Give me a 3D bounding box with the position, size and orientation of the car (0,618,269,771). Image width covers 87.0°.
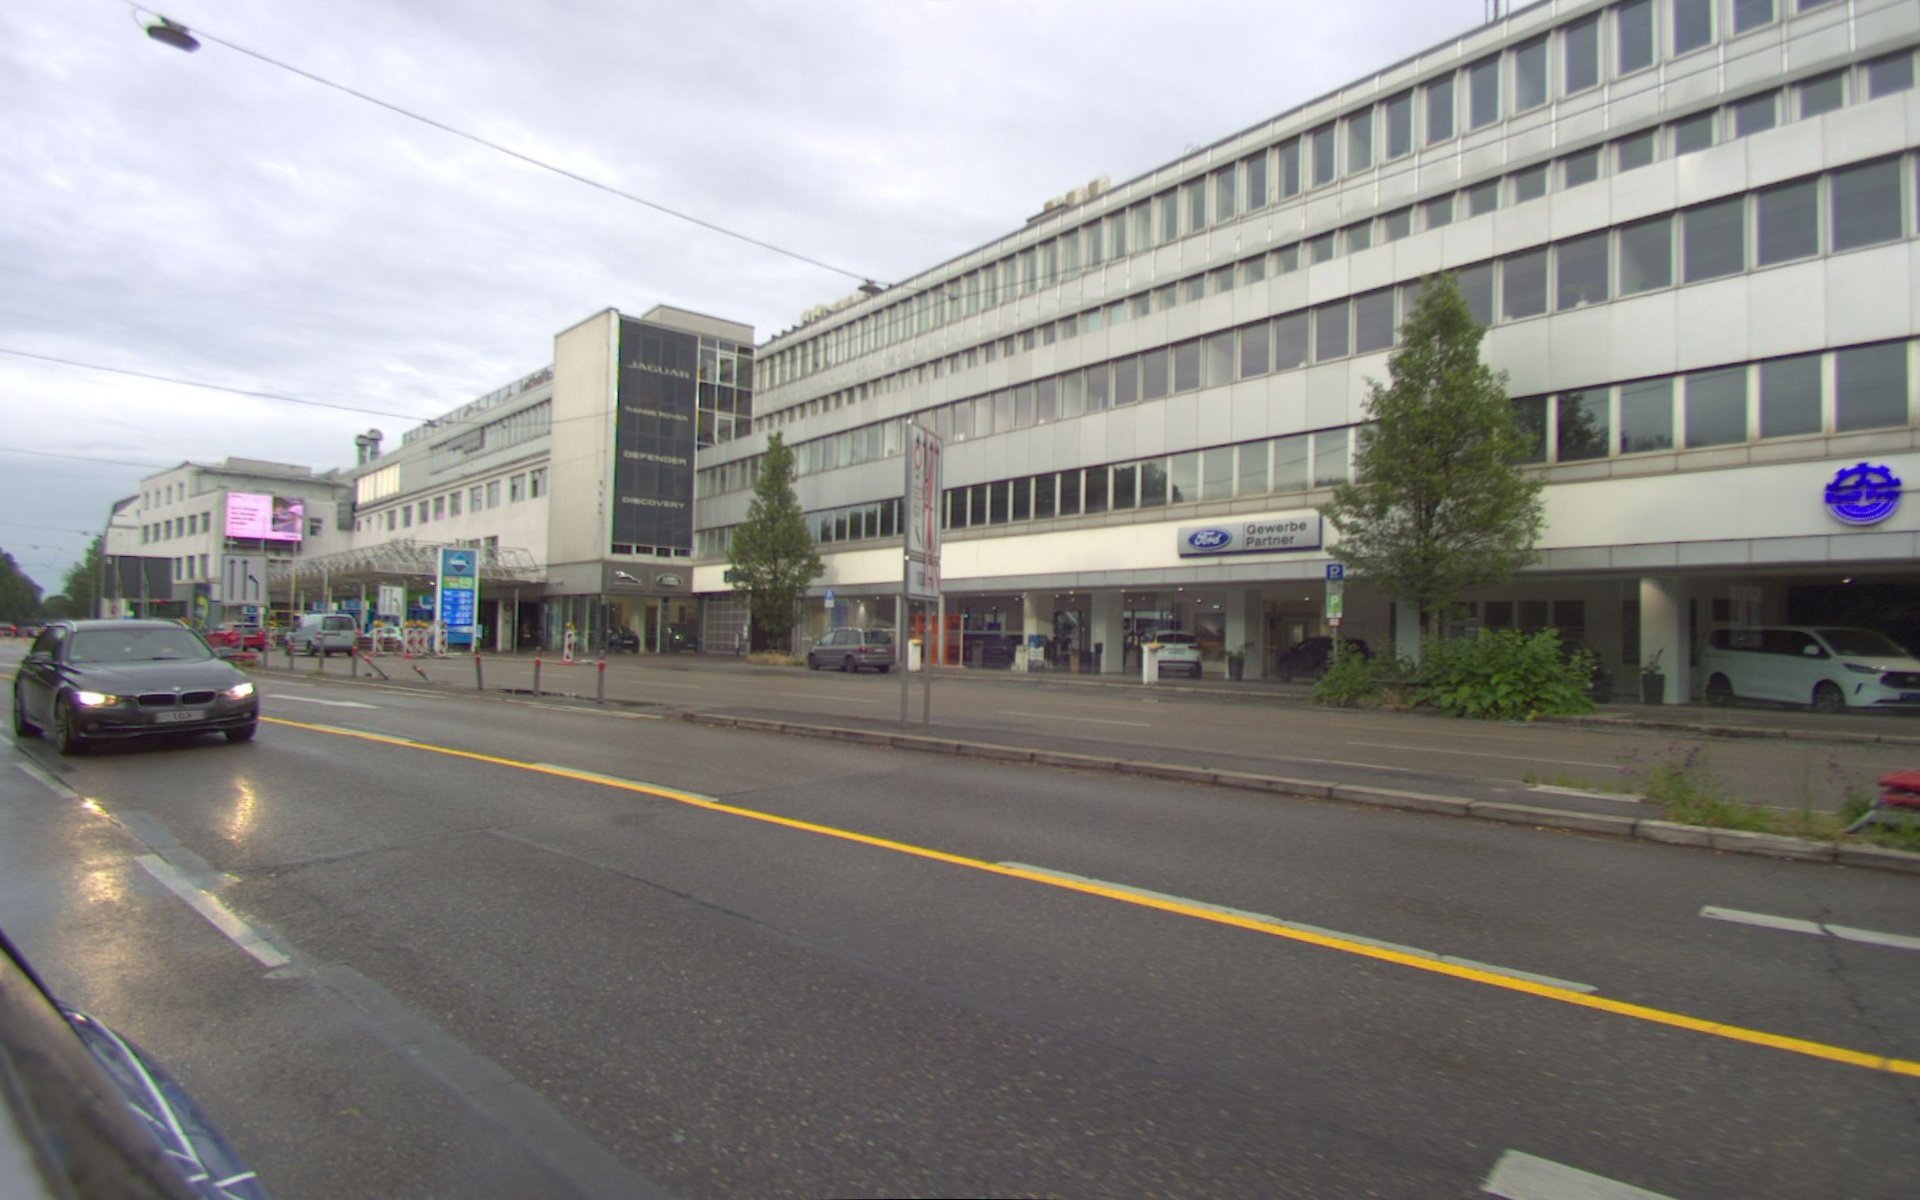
[{"bbox_3d":[-10.066,0.986,12.216,4.173,1.460,1.742,0,1,39],"label":"car"}]

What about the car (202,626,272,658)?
[{"bbox_3d":[-36.359,2.111,50.870,4.370,1.514,1.811,-1,-4,41],"label":"car"}]

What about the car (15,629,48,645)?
[{"bbox_3d":[-101.893,4.078,111.001,4.827,1.720,1.960,-1,-3,39],"label":"car"}]

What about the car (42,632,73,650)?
[{"bbox_3d":[-82.404,3.741,92.405,4.001,1.525,1.732,-1,-4,44],"label":"car"}]

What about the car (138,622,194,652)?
[{"bbox_3d":[-48.296,2.254,61.555,4.602,1.751,1.826,-1,-3,41],"label":"car"}]

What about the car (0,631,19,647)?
[{"bbox_3d":[-85.337,3.482,90.327,4.115,1.365,1.670,-1,-4,43],"label":"car"}]

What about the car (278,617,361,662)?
[{"bbox_3d":[-27.642,1.692,43.654,4.298,1.799,1.716,-1,-4,40],"label":"car"}]

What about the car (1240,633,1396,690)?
[{"bbox_3d":[10.645,1.816,30.333,1.967,1.586,4.010,4,-4,-35],"label":"car"}]

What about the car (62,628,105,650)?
[{"bbox_3d":[-64.974,2.887,74.981,4.299,1.570,1.789,-1,-3,41],"label":"car"}]

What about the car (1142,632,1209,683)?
[{"bbox_3d":[7.641,2.075,36.279,1.831,1.664,4.377,1,-3,6],"label":"car"}]

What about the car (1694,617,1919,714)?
[{"bbox_3d":[19.413,1.464,22.835,1.971,1.912,4.989,2,-3,-1],"label":"car"}]

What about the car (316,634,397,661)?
[{"bbox_3d":[-42.615,3.353,71.603,4.407,1.692,2.018,3,-4,-9],"label":"car"}]

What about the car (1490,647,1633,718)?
[{"bbox_3d":[15.045,2.031,25.581,1.980,1.586,3.982,1,-3,13],"label":"car"}]

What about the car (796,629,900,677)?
[{"bbox_3d":[-4.566,2.095,40.567,1.825,1.792,4.738,4,-4,-39],"label":"car"}]

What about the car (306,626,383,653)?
[{"bbox_3d":[-45.486,2.942,74.848,4.374,1.784,1.971,3,-4,-9],"label":"car"}]
